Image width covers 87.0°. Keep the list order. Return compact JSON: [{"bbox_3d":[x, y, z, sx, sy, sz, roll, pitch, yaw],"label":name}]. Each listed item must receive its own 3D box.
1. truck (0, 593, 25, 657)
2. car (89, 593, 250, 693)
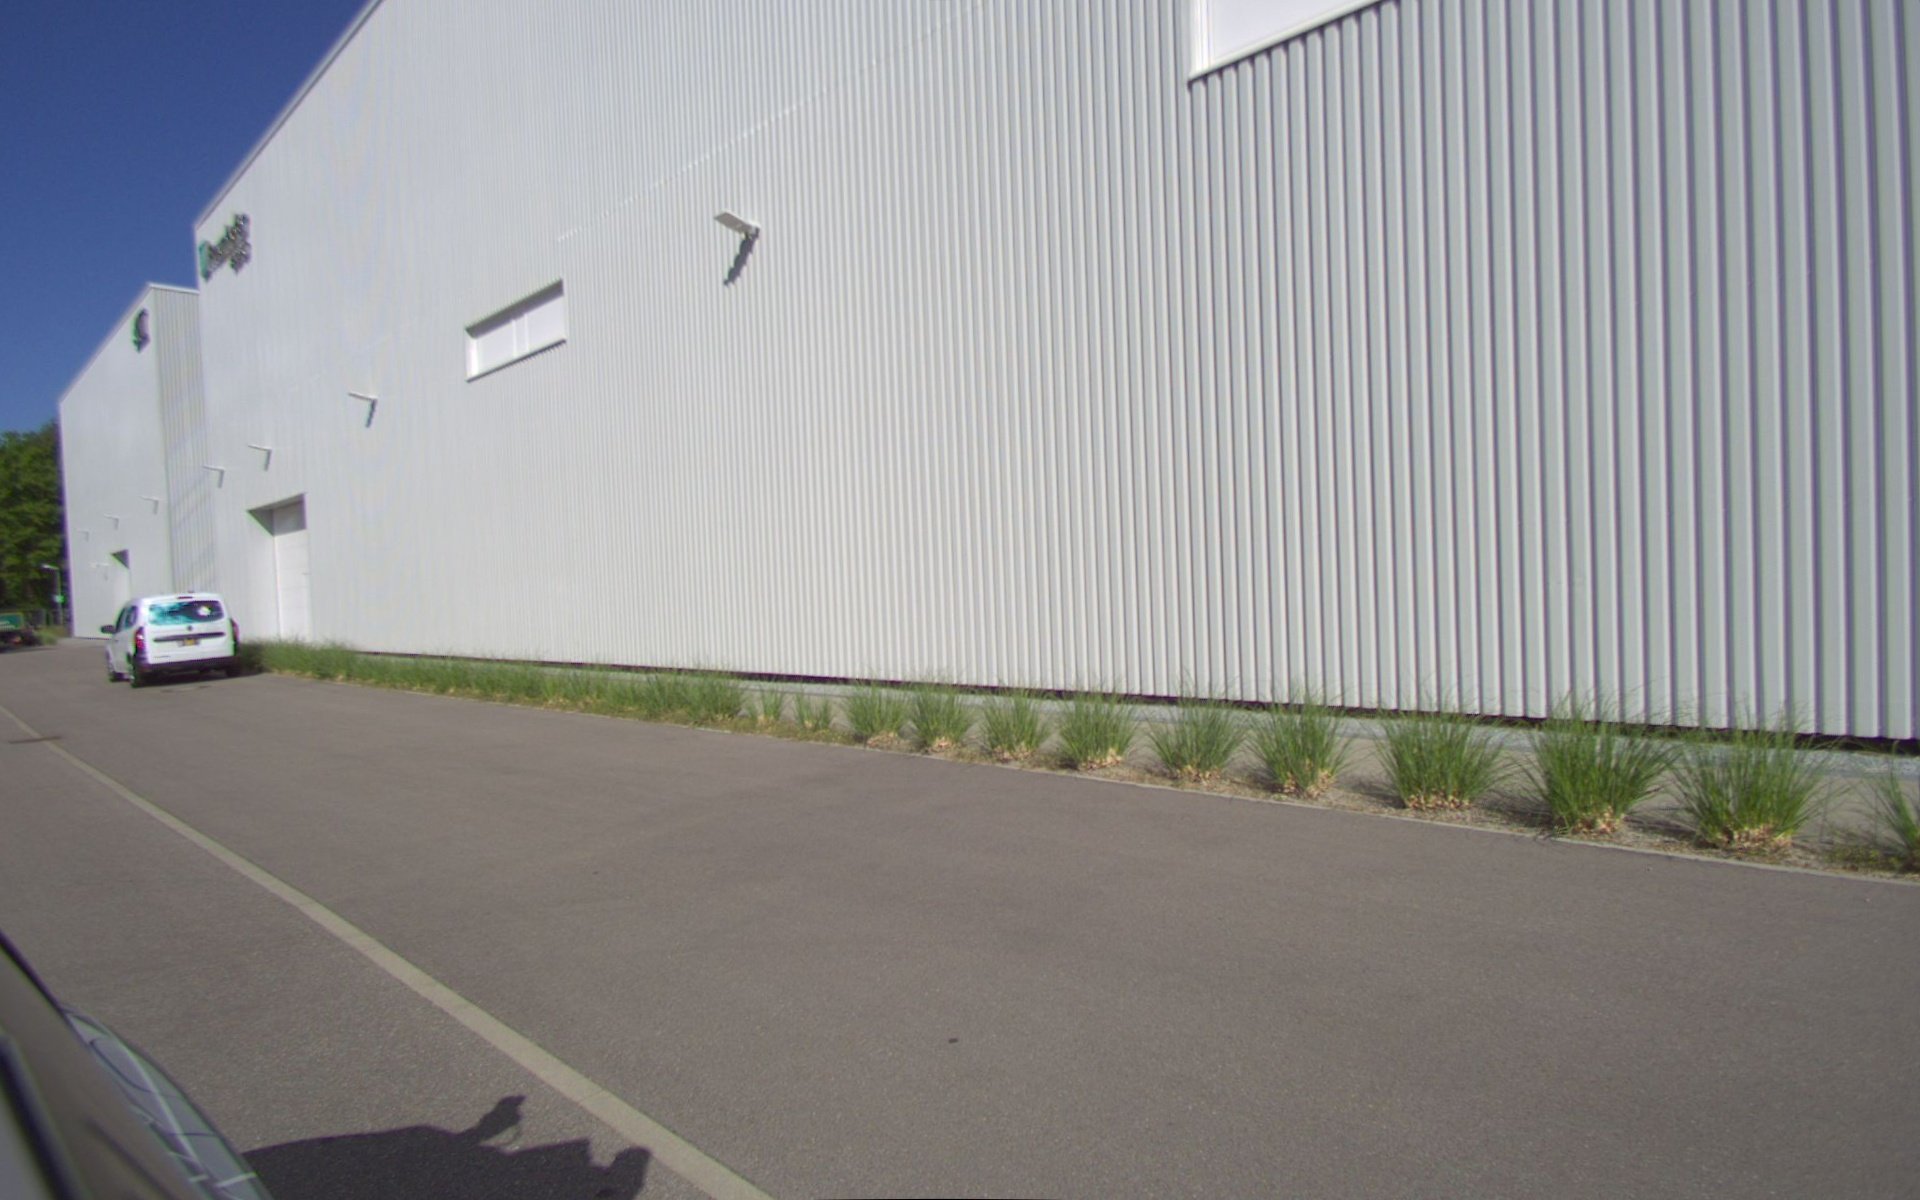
[{"bbox_3d":[-46.010,1.334,45.802,9.657,2.736,2.564,-2,3,30],"label":"truck"},{"bbox_3d":[-16.961,0.862,21.633,4.597,1.803,1.908,-2,2,43],"label":"car"}]
